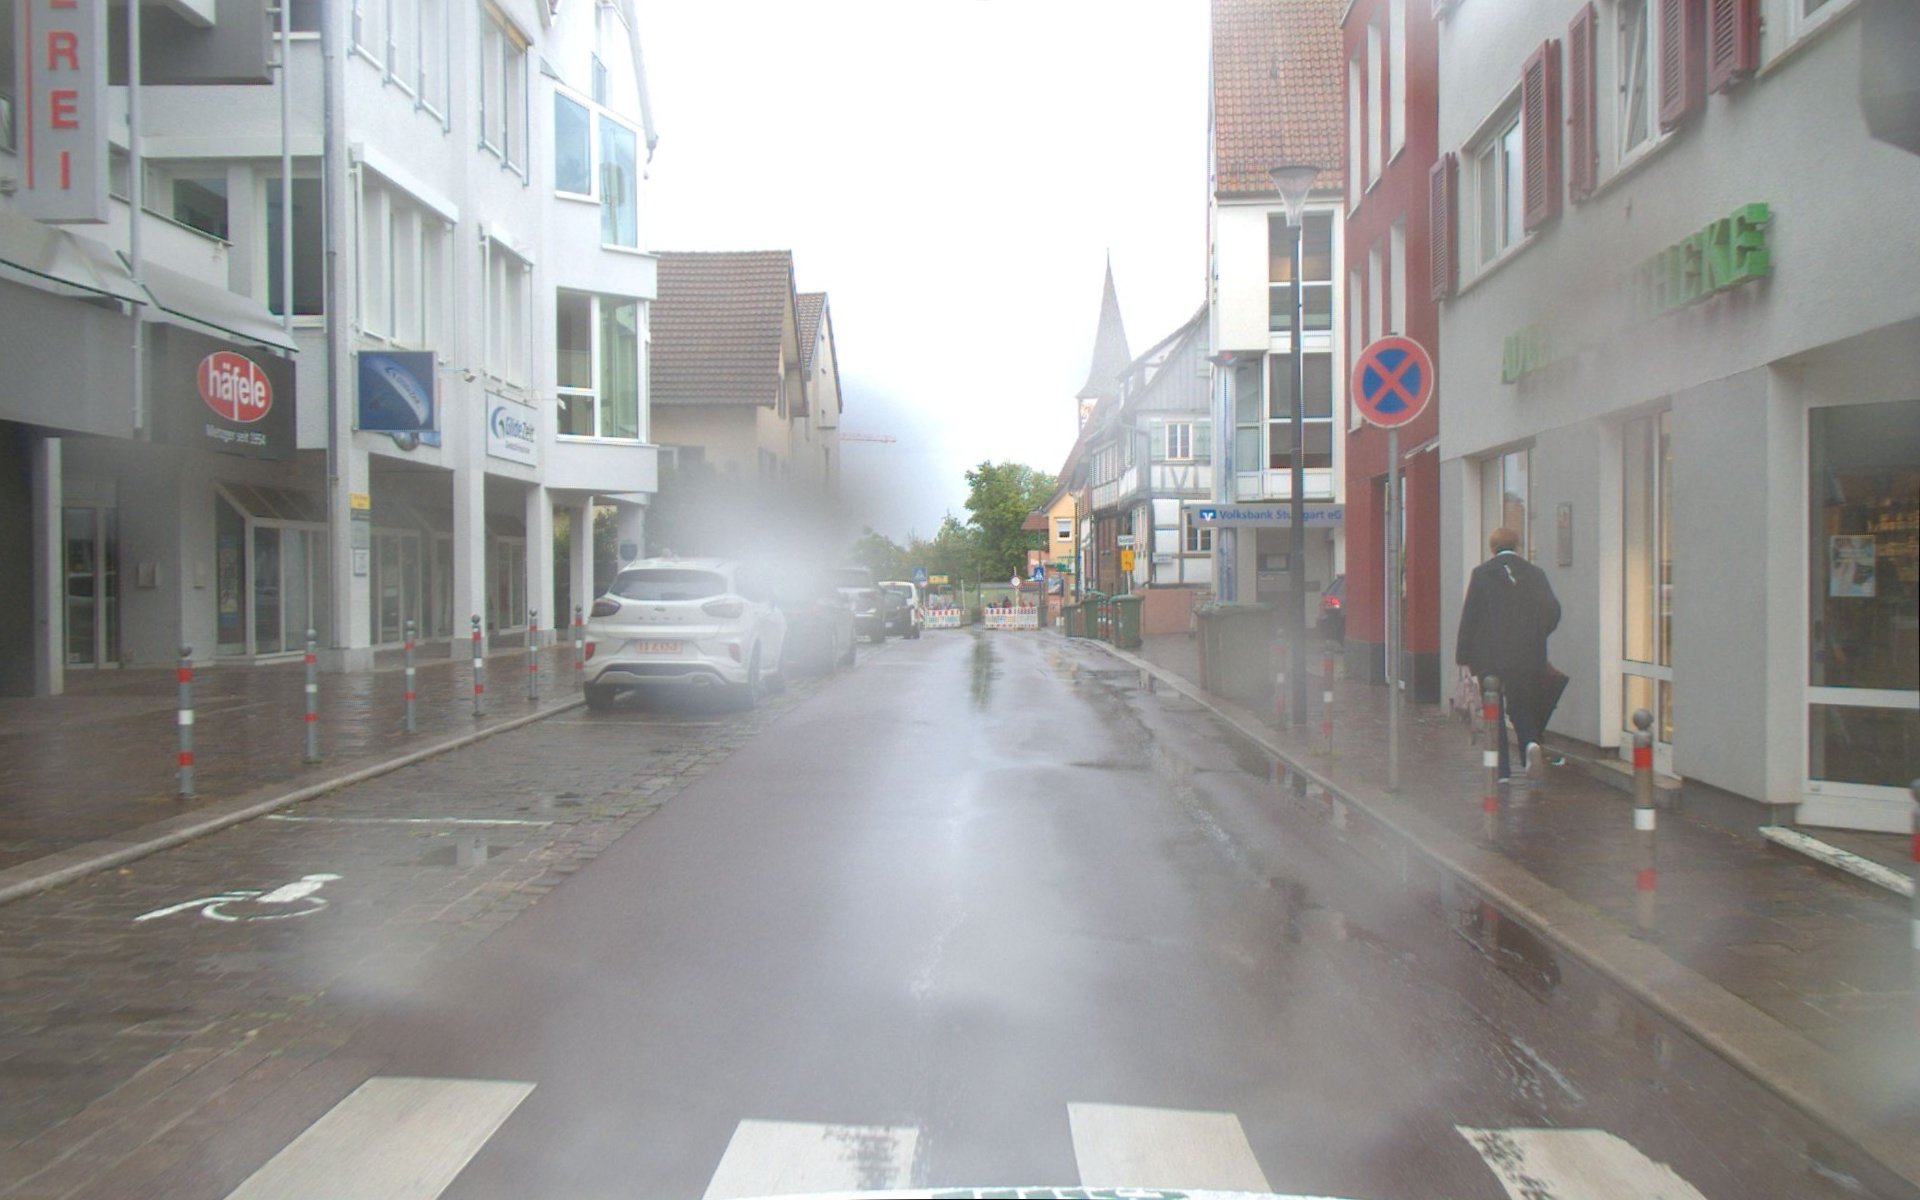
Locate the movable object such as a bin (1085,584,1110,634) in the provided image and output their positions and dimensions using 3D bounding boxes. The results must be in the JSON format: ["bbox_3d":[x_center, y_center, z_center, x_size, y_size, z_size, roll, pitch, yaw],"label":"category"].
[{"bbox_3d":[3.620,0.250,43.581,0.624,1.313,0.632,0,-1,6],"label":"movable object such as a bin"}]

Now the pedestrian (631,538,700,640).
[{"bbox_3d":[-5.385,-0.202,30.298,1.014,1.837,1.116,1,0,1],"label":"pedestrian"}]

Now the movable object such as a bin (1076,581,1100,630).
[{"bbox_3d":[3.482,0.160,44.997,0.624,1.313,0.632,0,-1,6],"label":"movable object such as a bin"}]

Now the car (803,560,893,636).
[{"bbox_3d":[-2.425,-0.011,36.766,1.743,1.596,4.407,0,-1,-1],"label":"car"}]

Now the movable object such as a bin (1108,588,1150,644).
[{"bbox_3d":[3.541,0.334,34.639,0.787,1.151,0.862,0,-1,-1],"label":"movable object such as a bin"}]

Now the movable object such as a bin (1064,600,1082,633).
[{"bbox_3d":[3.898,0.570,57.252,0.596,1.147,0.599,0,-1,1],"label":"movable object such as a bin"}]

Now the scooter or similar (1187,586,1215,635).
[{"bbox_3d":[5.783,0.262,39.784,0.651,1.166,1.447,0,-1,8],"label":"scooter or similar"}]

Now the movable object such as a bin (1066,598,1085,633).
[{"bbox_3d":[3.799,0.516,54.372,0.624,1.167,0.604,0,-1,6],"label":"movable object such as a bin"}]

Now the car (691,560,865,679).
[{"bbox_3d":[-2.526,0.226,24.097,1.792,1.525,4.765,-1,1,2],"label":"car"}]

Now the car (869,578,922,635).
[{"bbox_3d":[-2.138,0.236,55.872,1.688,1.857,4.427,0,-1,-1],"label":"car"}]

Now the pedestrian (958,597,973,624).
[{"bbox_3d":[0.362,0.695,109.018,0.971,1.790,0.850,0,-1,-5],"label":"pedestrian"}]

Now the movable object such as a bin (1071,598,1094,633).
[{"bbox_3d":[3.918,0.489,53.049,0.656,1.100,0.587,-1,-2,-1],"label":"movable object such as a bin"}]

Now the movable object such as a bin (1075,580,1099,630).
[{"bbox_3d":[3.398,0.143,44.274,0.624,1.313,0.632,0,-1,6],"label":"movable object such as a bin"}]

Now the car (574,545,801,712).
[{"bbox_3d":[-2.852,0.231,18.107,1.754,1.578,4.001,2,1,0],"label":"car"}]

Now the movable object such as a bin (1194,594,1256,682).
[{"bbox_3d":[3.367,0.474,21.074,0.714,1.100,0.647,0,0,2],"label":"movable object such as a bin"}]

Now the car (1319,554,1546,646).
[{"bbox_3d":[8.726,0.023,30.852,3.902,1.541,1.913,-2,-1,12],"label":"car"}]

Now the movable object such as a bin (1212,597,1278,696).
[{"bbox_3d":[3.249,0.519,18.906,0.662,1.105,0.718,0,0,2],"label":"movable object such as a bin"}]

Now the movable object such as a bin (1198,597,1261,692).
[{"bbox_3d":[3.194,0.517,19.655,0.662,1.103,0.698,0,0,2],"label":"movable object such as a bin"}]

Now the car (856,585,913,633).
[{"bbox_3d":[-2.281,0.288,50.048,1.647,1.413,3.823,0,-1,-2],"label":"car"}]

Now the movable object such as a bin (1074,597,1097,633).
[{"bbox_3d":[3.918,0.475,51.690,0.664,1.116,0.650,0,-1,-3],"label":"movable object such as a bin"}]

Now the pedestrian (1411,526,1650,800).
[{"bbox_3d":[3.827,0.398,11.215,1.154,1.727,1.177,-2,0,-2],"label":"pedestrian"}]

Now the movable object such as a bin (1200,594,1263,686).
[{"bbox_3d":[3.345,0.488,20.416,0.695,1.113,0.614,0,0,2],"label":"movable object such as a bin"}]

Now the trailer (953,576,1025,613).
[{"bbox_3d":[2.327,-0.428,133.481,5.667,2.999,1.998,0,-1,-4],"label":"trailer"}]
